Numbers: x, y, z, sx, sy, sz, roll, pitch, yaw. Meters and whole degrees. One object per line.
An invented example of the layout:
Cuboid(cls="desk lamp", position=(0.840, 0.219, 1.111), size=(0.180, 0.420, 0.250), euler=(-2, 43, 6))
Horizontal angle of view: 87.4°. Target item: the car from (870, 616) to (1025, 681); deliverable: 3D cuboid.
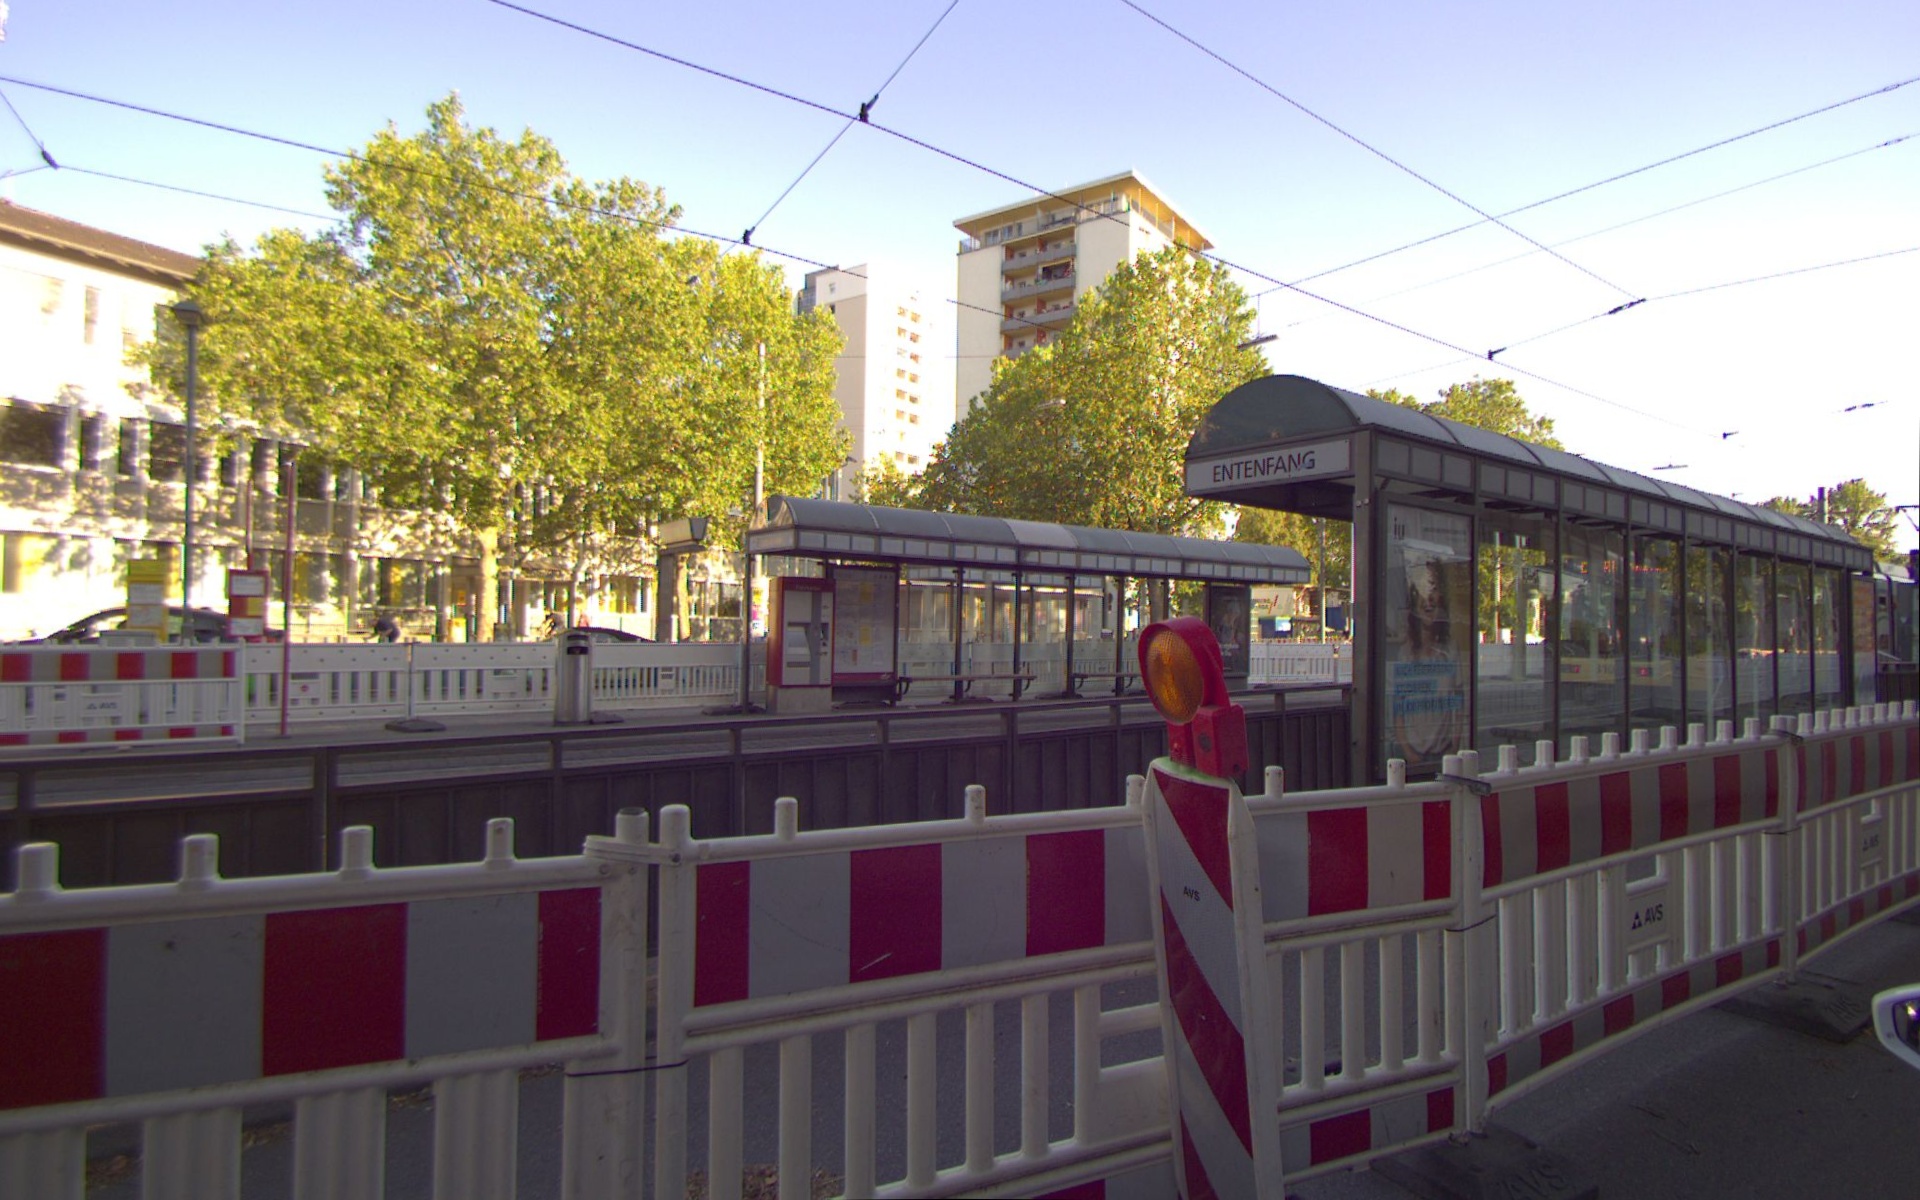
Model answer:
Cuboid(cls="car", position=(-0.326, 1.331, 28.061), size=(3.959, 1.683, 1.901), euler=(2, -2, -35))

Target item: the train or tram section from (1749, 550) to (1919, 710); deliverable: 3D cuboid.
Cuboid(cls="train or tram section", position=(24.729, 0.808, 27.100), size=(11.477, 3.606, 2.666), euler=(2, 0, -38))

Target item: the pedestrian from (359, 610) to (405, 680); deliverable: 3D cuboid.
Cuboid(cls="pedestrian", position=(-15.713, 1.221, 27.312), size=(0.921, 1.858, 0.691), euler=(2, -2, -43))

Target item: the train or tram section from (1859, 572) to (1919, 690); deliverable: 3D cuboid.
Cuboid(cls="train or tram section", position=(33.706, 1.087, 34.152), size=(11.479, 3.580, 2.666), euler=(2, 0, -38))

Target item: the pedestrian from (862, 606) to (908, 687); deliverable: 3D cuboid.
Cuboid(cls="pedestrian", position=(-1.837, 1.135, 24.577), size=(0.829, 1.925, 0.740), euler=(2, -2, -36))

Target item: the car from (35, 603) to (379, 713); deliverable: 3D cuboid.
Cuboid(cls="car", position=(-12.731, 0.959, 17.398), size=(4.511, 1.683, 1.982), euler=(2, -2, -34))

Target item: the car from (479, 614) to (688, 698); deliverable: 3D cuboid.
Cuboid(cls="car", position=(-8.251, 1.187, 22.064), size=(3.958, 1.683, 1.982), euler=(2, -2, -34))

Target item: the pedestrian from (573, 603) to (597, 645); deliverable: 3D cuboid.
Cuboid(cls="pedestrian", position=(-13.118, 0.843, 35.118), size=(0.581, 1.474, 0.579), euler=(2, -2, -43))

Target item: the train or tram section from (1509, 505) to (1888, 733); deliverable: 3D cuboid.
Cuboid(cls="train or tram section", position=(15.348, 0.445, 20.273), size=(11.657, 3.580, 2.668), euler=(2, 0, -36))
